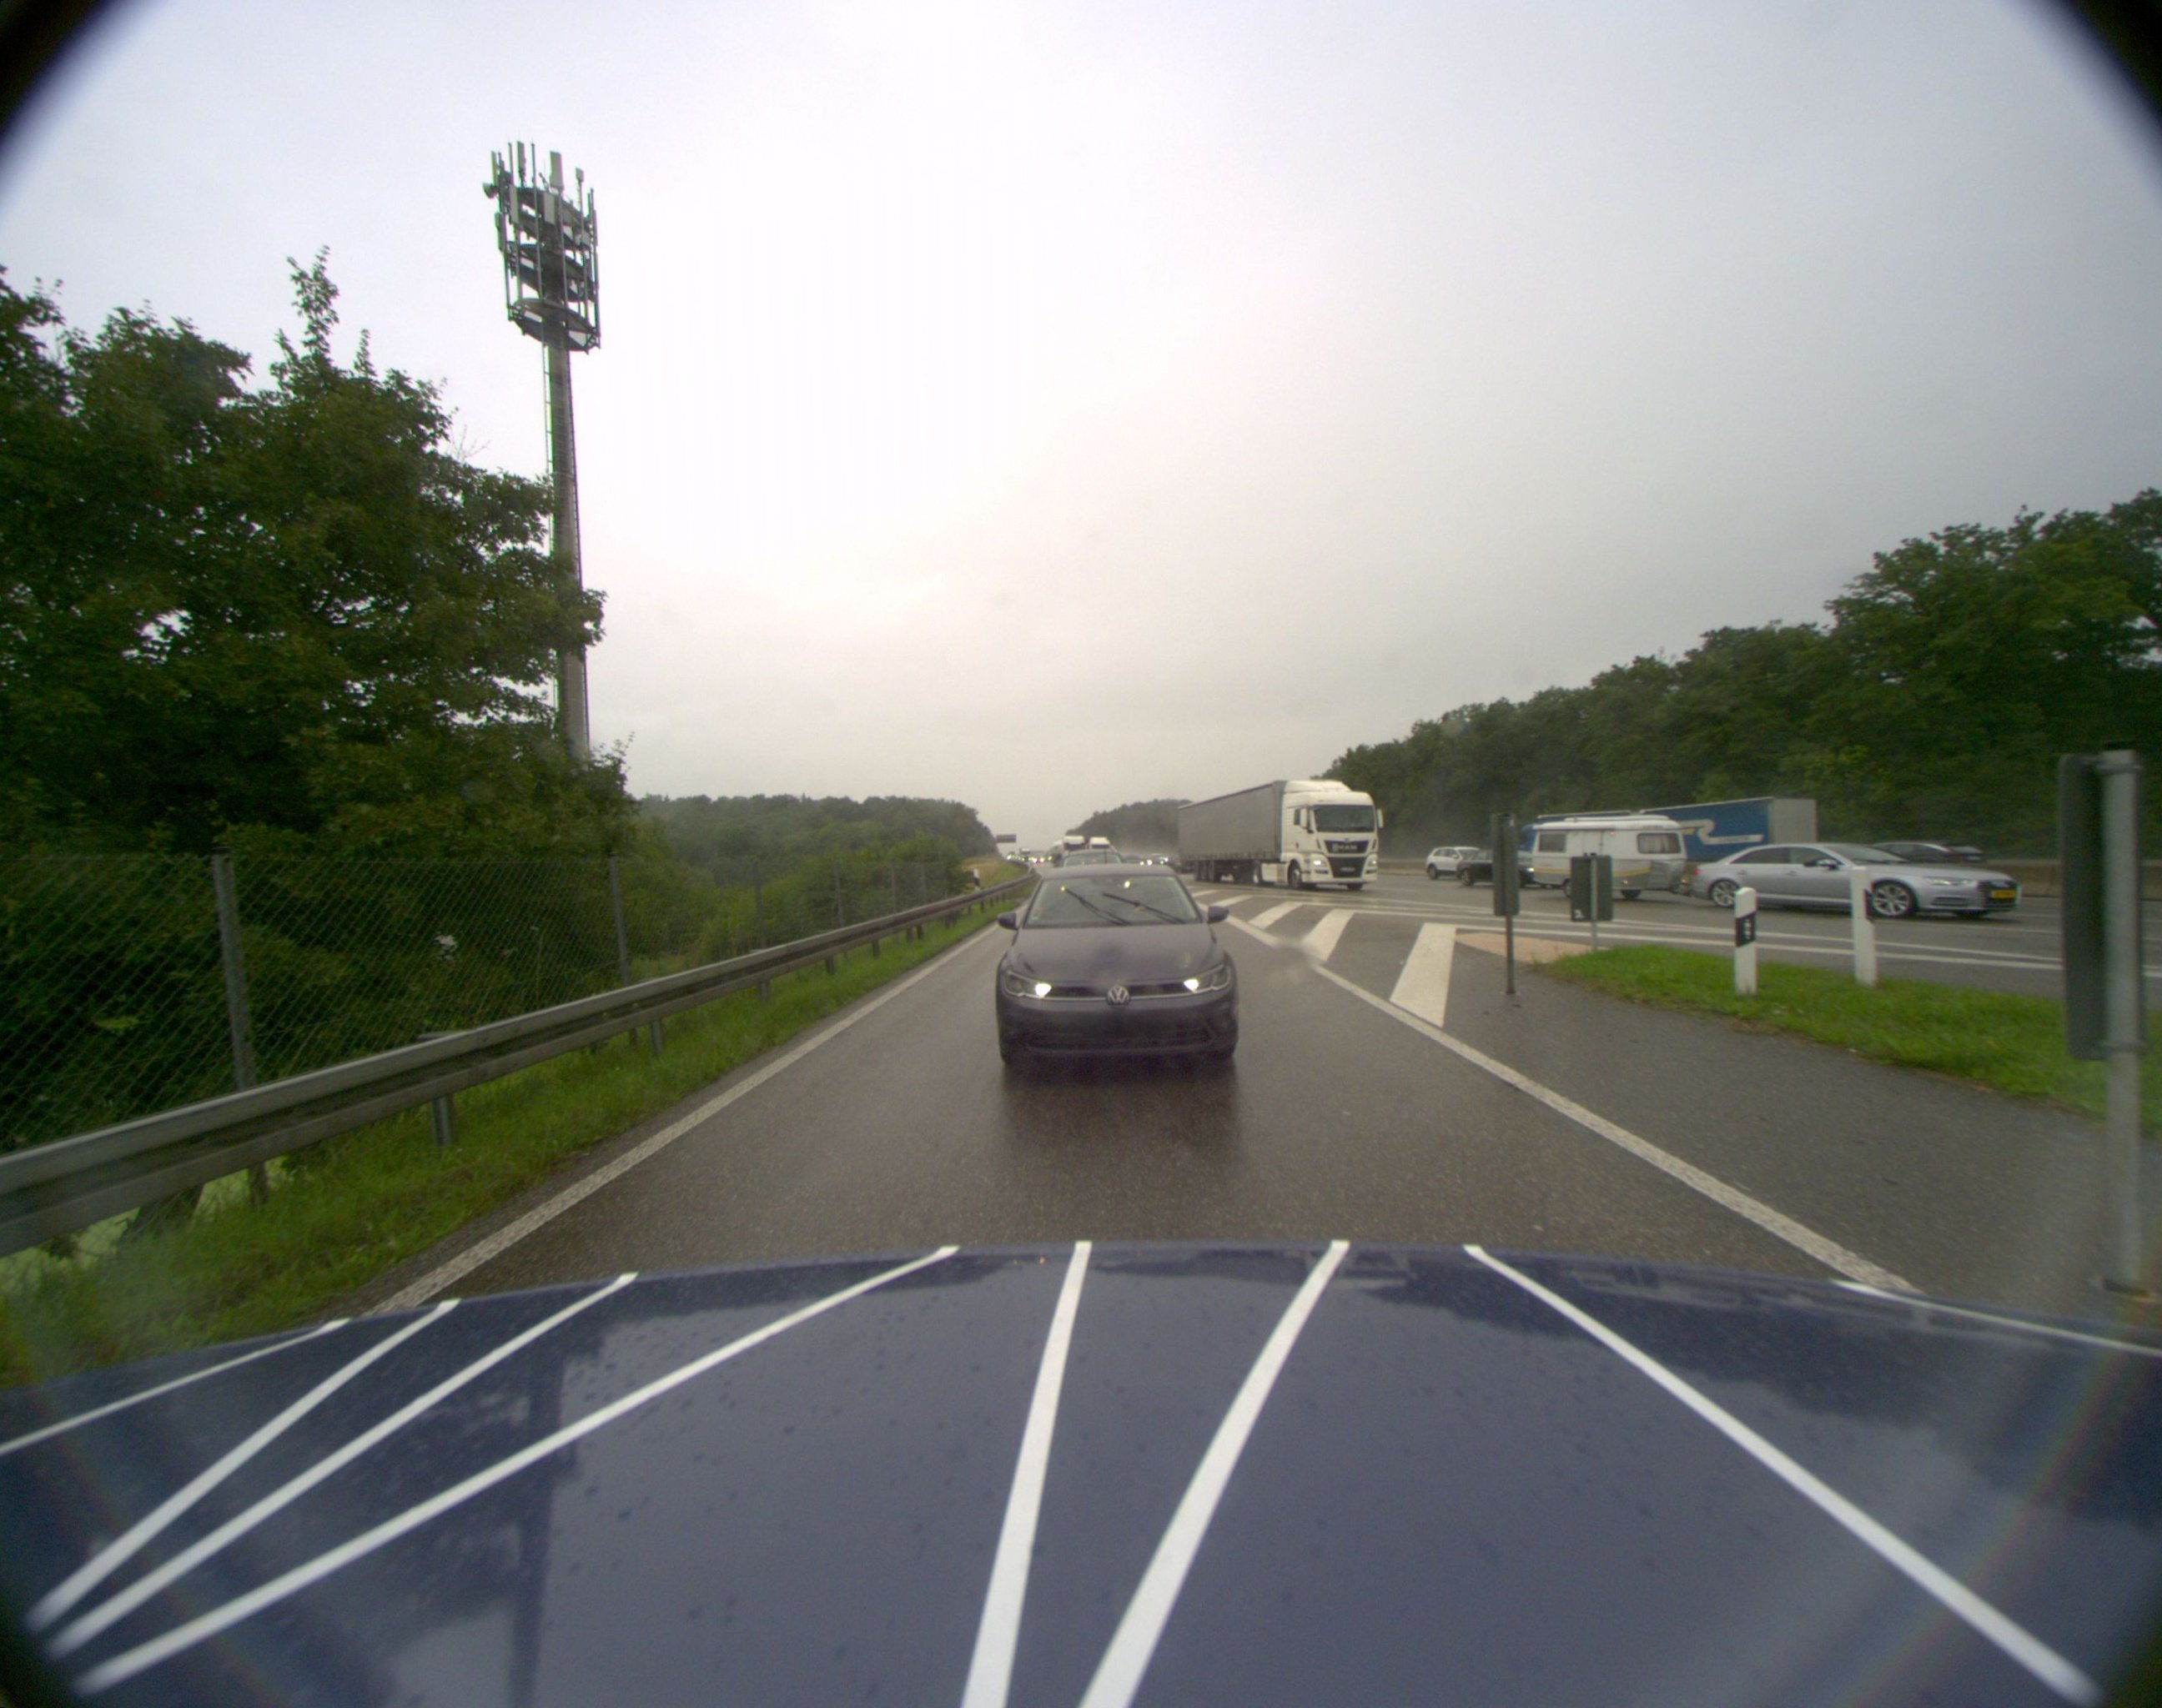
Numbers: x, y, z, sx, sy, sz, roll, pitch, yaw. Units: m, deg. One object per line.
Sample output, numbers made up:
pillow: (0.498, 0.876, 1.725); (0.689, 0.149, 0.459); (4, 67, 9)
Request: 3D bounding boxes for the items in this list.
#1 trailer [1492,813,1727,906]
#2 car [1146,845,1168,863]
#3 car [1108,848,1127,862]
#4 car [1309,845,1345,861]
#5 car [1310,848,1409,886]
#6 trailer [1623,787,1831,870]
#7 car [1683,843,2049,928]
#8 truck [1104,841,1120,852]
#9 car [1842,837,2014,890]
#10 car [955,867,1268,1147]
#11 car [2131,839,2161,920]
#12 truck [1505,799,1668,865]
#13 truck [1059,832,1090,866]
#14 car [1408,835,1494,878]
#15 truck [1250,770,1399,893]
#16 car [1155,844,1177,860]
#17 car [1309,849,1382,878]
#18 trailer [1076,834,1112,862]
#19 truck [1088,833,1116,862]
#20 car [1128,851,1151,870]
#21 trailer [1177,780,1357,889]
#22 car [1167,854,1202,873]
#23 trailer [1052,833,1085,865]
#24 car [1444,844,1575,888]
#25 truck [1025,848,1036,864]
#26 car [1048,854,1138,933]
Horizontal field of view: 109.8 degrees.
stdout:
trailer: (13.673, 0.156, 20.193); (2.136, 2.143, 5.175); (0, 0, -9)
car: (8.676, 0.003, 86.889); (1.862, 2.002, 3.998); (-1, 0, -5)
car: (5.416, 0.191, 113.021); (2.000, 2.002, 4.109); (-2, 0, -9)
car: (26.691, -0.134, 82.496); (2.000, 1.709, 4.365); (0, 0, -9)
car: (11.686, 0.518, 32.253); (1.886, 1.472, 4.498); (-1, 0, -12)
trailer: (36.800, -1.370, 43.963); (3.100, 4.024, 9.157); (-5, 1, -9)
car: (14.379, 0.521, 14.408); (1.852, 1.340, 4.578); (0, 0, -9)
truck: (10.899, -2.610, 267.939); (3.157, 3.643, 15.201); (-2, 0, -6)
car: (30.757, 0.325, 27.763); (1.745, 1.726, 3.847); (-3, 0, -8)
car: (0.187, 0.903, 6.447); (1.670, 1.394, 4.261); (-5, 0, 0)
car: (21.844, 0.489, 12.839); (1.710, 1.566, 4.521); (0, 0, -9)
truck: (35.224, -1.474, 53.765); (3.071, 3.957, 10.548); (-5, 1, -9)
truck: (-0.844, -0.592, 94.049); (2.759, 3.985, 6.503); (-1, 0, -9)
car: (18.893, 0.143, 39.024); (1.942, 2.002, 3.997); (-4, 0, -10)
truck: (8.714, -0.747, 28.027); (2.882, 4.029, 5.930); (-1, 0, -8)
car: (11.249, -0.205, 100.730); (2.000, 2.002, 3.997); (-1, 0, -9)
car: (14.369, 0.495, 41.551); (1.886, 1.472, 4.499); (-1, 0, -8)
trailer: (1.673, -0.807, 110.023); (2.692, 3.485, 15.114); (-4, 1, -8)
truck: (2.722, -0.895, 102.123); (2.698, 3.635, 5.321); (-4, 1, -8)
car: (6.073, 0.638, 79.402); (1.766, 1.892, 3.998); (-2, 0, -5)
trailer: (7.744, -0.684, 34.902); (2.904, 3.959, 14.108); (-1, 0, -8)
car: (8.042, 0.732, 59.243); (1.823, 1.364, 3.998); (-1, 0, -5)
trailer: (-1.807, -0.582, 100.031); (2.771, 4.002, 11.033); (-1, 0, -9)
car: (16.134, 0.408, 28.906); (2.000, 1.531, 4.524); (0, 0, -8)
truck: (-14.420, 0.590, 218.450); (2.597, 4.120, 5.230); (-4, 0, -2)
car: (0.323, 0.849, 18.253); (1.810, 1.532, 4.000); (-5, 0, 2)
